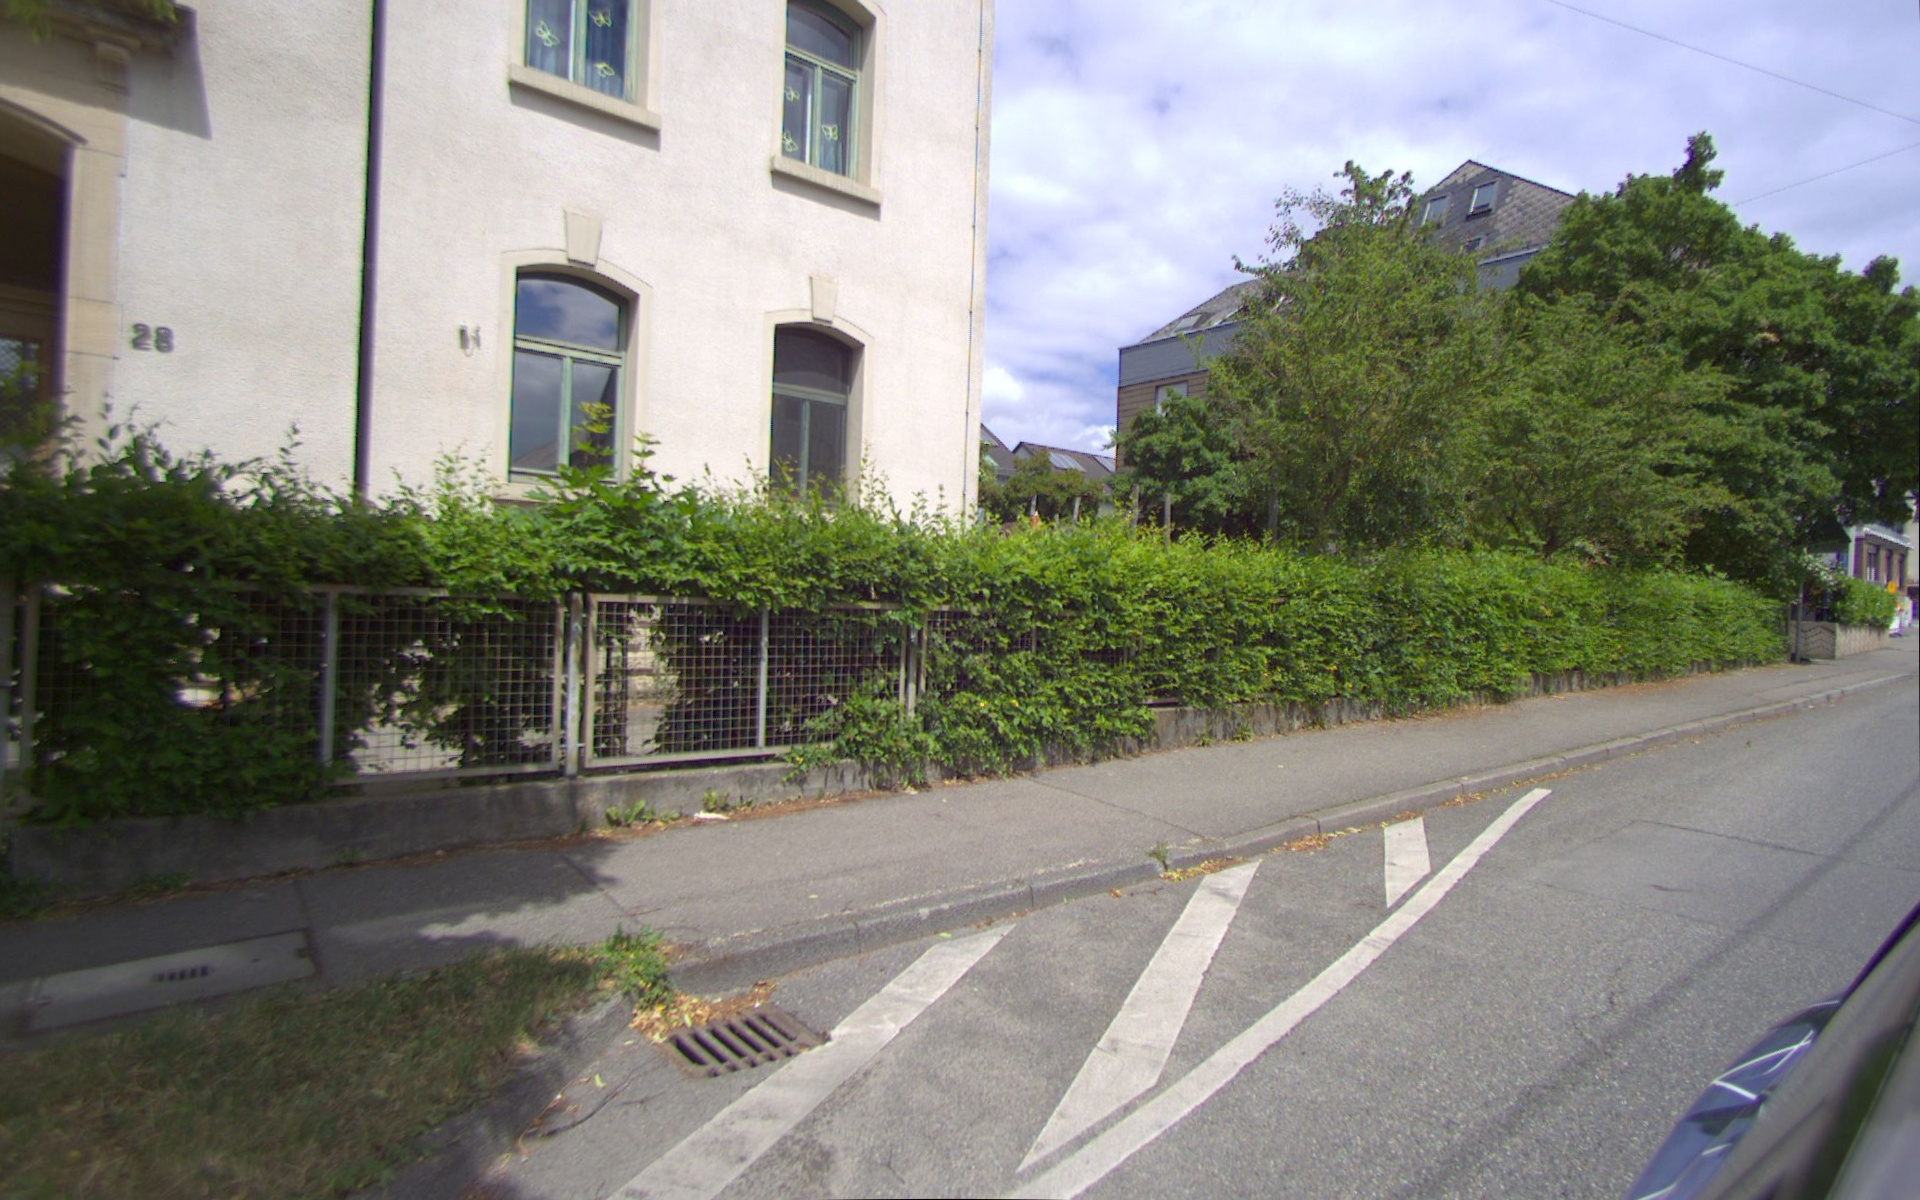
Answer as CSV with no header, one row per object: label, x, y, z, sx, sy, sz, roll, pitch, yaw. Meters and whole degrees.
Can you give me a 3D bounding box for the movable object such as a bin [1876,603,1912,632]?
movable object such as a bin,32.954,0.606,35.715,0.462,0.925,0.789,0,6,-40
